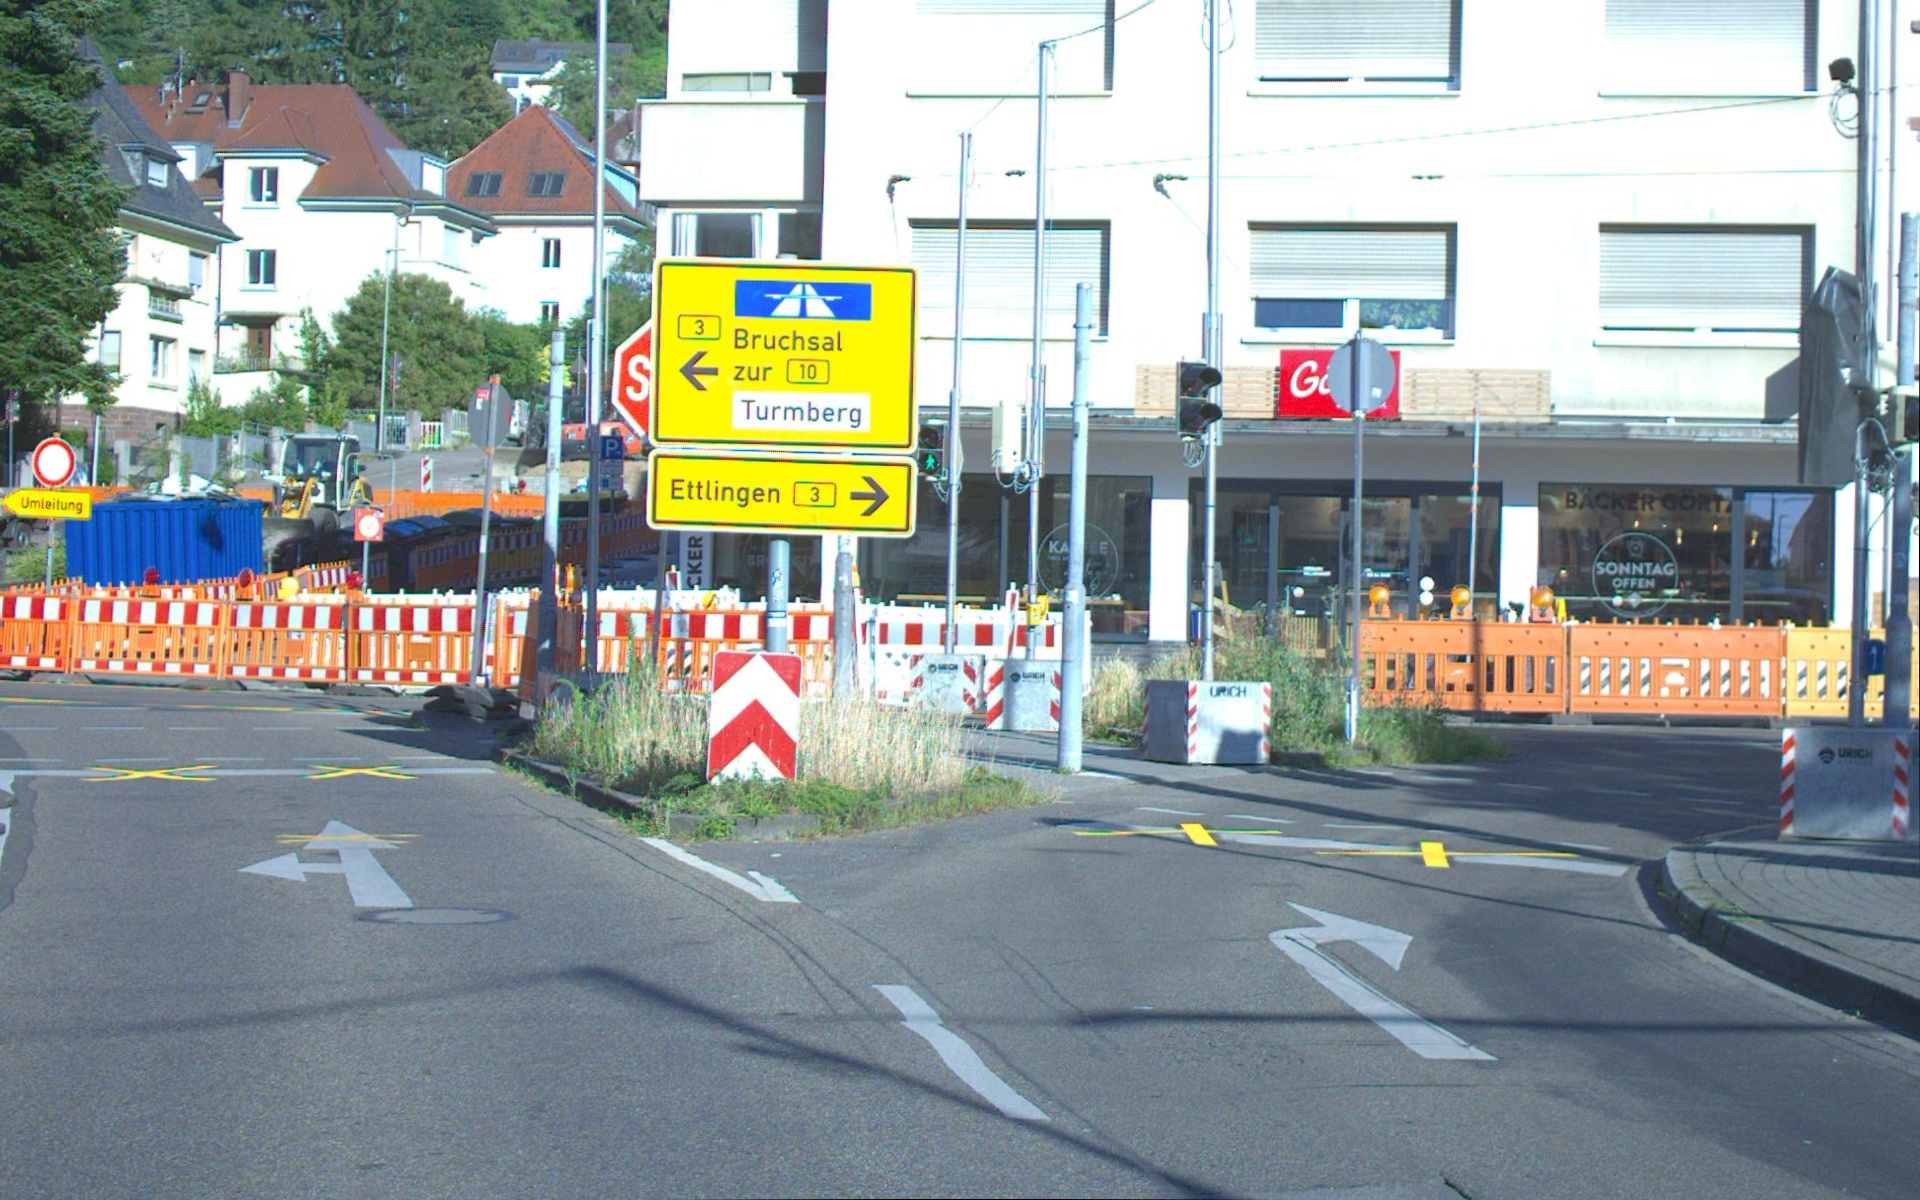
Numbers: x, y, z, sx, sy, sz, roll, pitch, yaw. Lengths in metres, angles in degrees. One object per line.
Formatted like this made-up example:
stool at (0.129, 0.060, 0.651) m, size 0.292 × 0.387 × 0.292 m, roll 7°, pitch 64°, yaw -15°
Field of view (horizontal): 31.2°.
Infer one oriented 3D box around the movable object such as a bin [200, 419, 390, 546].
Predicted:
movable object such as a bin at (-13.791, -2.405, 71.532) m, size 1.950 × 2.486 × 4.548 m, roll 1°, pitch 0°, yaw 17°

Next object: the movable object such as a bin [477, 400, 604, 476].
movable object such as a bin at (-13.056, -5.036, 107.459) m, size 2.566 × 2.114 × 5.782 m, roll 1°, pitch 0°, yaw 7°

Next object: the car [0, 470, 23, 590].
car at (-18.815, -1.243, 58.666) m, size 2.585 × 2.113 × 6.146 m, roll 1°, pitch 0°, yaw 17°
